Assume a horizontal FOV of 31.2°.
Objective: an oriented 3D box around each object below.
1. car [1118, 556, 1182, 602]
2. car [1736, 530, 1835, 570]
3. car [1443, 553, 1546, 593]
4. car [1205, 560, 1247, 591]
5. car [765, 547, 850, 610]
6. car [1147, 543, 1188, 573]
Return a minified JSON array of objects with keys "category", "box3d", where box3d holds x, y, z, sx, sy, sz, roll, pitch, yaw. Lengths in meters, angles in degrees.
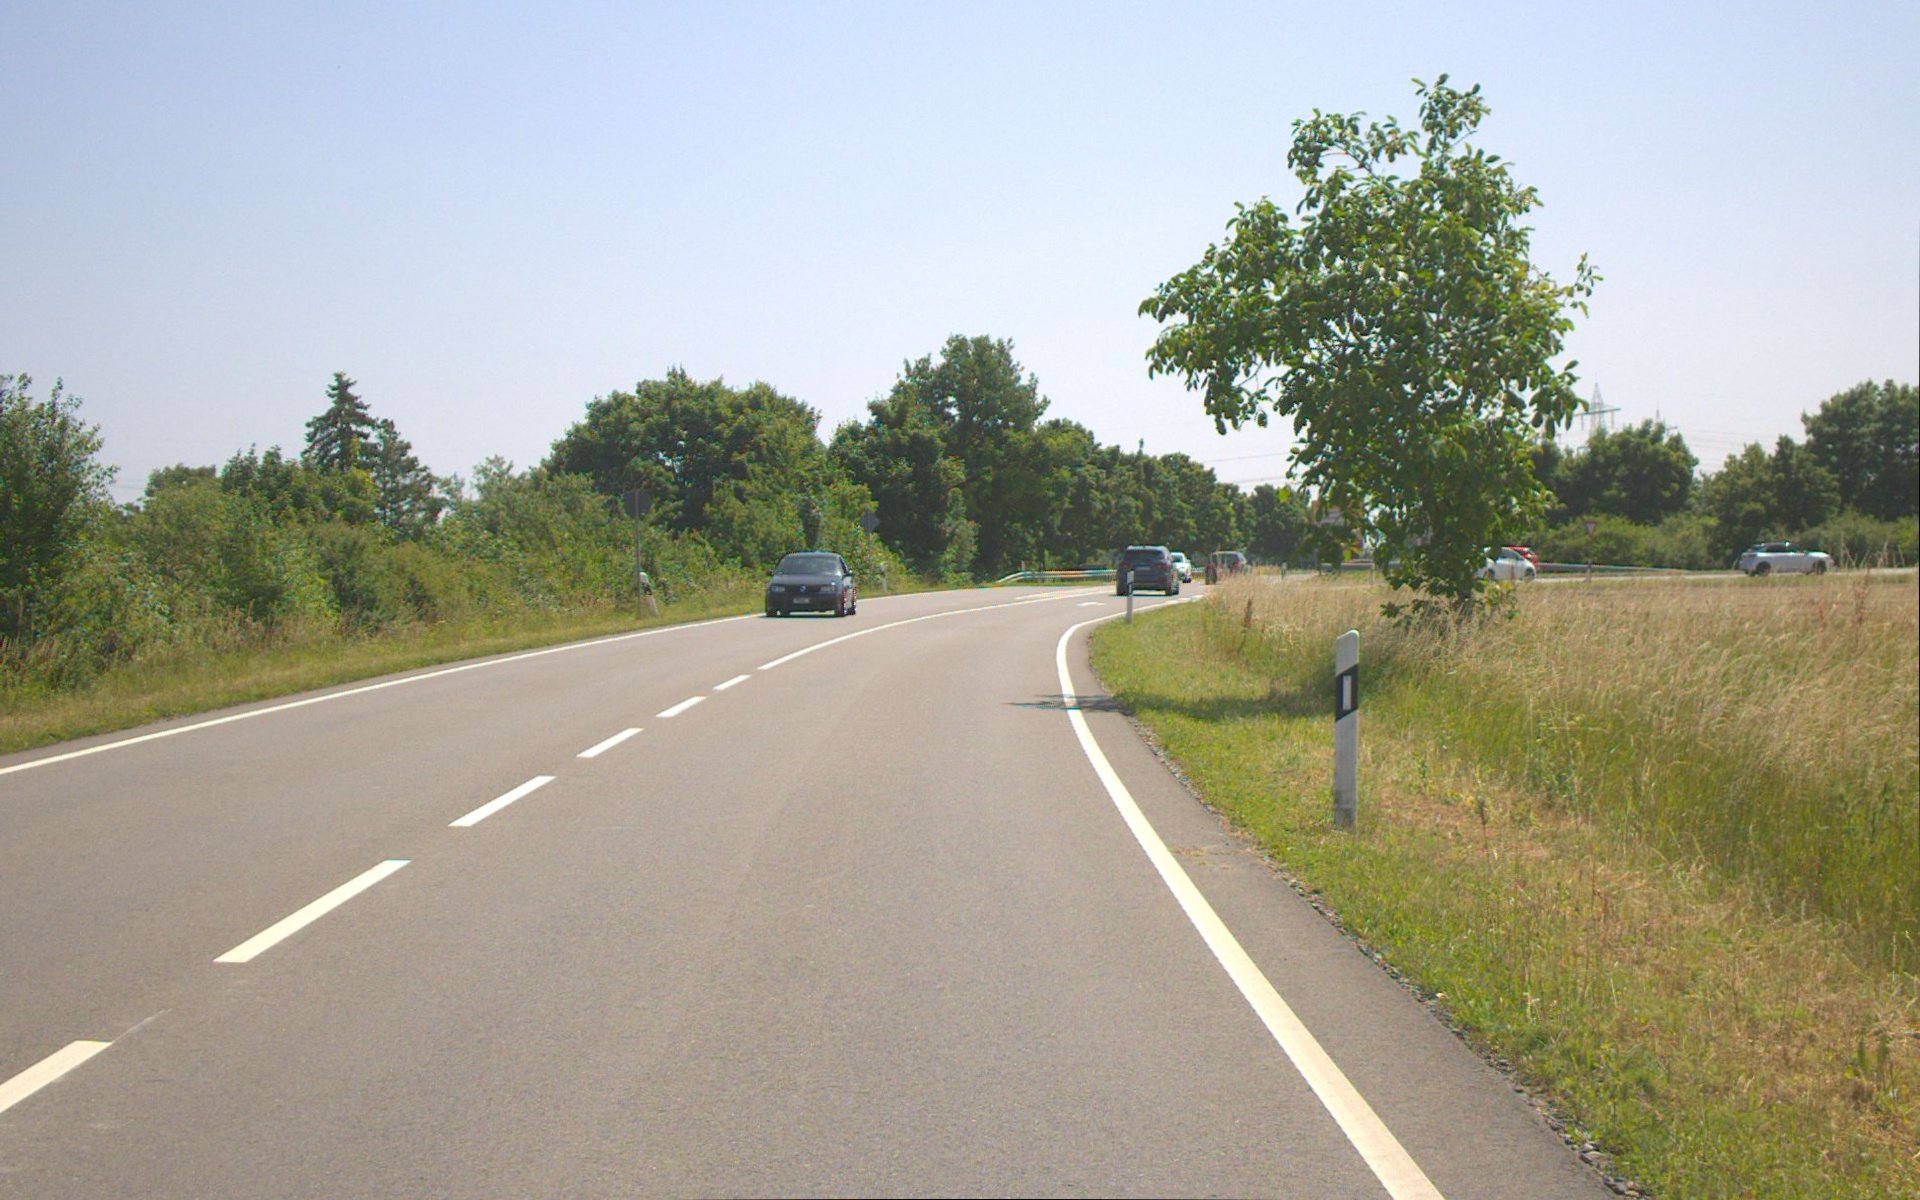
[{"category":"car","box3d":[6.461,-0.720,116.793,1.885,1.513,4.038,1,1,7]},{"category":"car","box3d":[36.159,-2.191,150.596,3.991,1.618,1.642,-1,1,22]},{"category":"car","box3d":[22.821,-1.170,146.855,4.130,1.618,2.070,-2,1,-38]},{"category":"car","box3d":[11.769,-1.068,152.001,1.644,1.336,4.038,1,1,7]},{"category":"car","box3d":[-3.363,-0.483,76.306,1.692,1.358,3.826,1,1,0]},{"category":"car","box3d":[10.112,-2.036,167.651,1.836,1.414,4.714,1,1,5]}]
